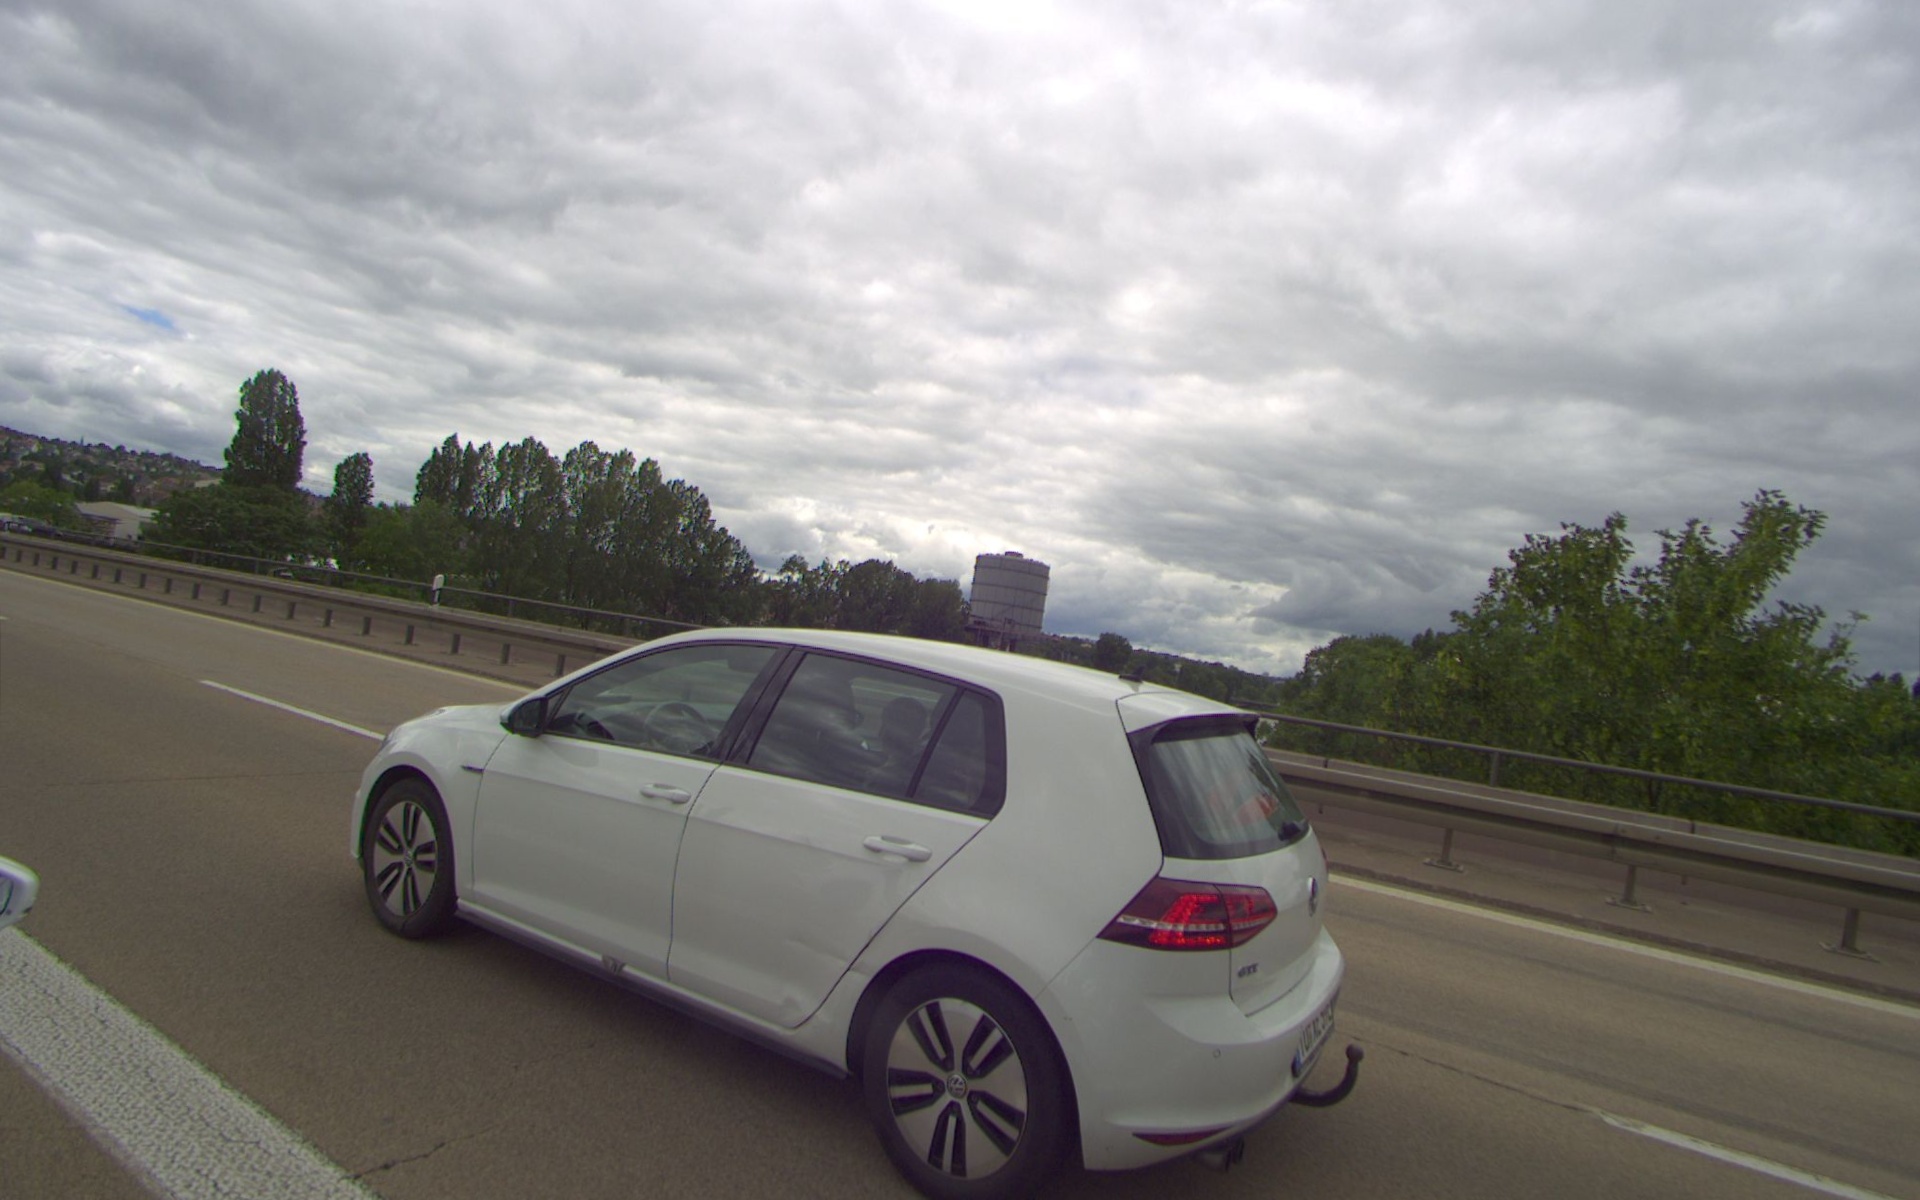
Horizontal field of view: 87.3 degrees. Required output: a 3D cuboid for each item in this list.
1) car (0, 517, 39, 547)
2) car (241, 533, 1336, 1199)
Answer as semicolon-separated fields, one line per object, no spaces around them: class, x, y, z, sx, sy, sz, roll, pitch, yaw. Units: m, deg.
car;-65.326;-4.698;68.780;1.904;1.806;4.094;8;-1;-21
car;-0.828;0.729;4.022;4.003;1.469;1.757;7;-1;30
